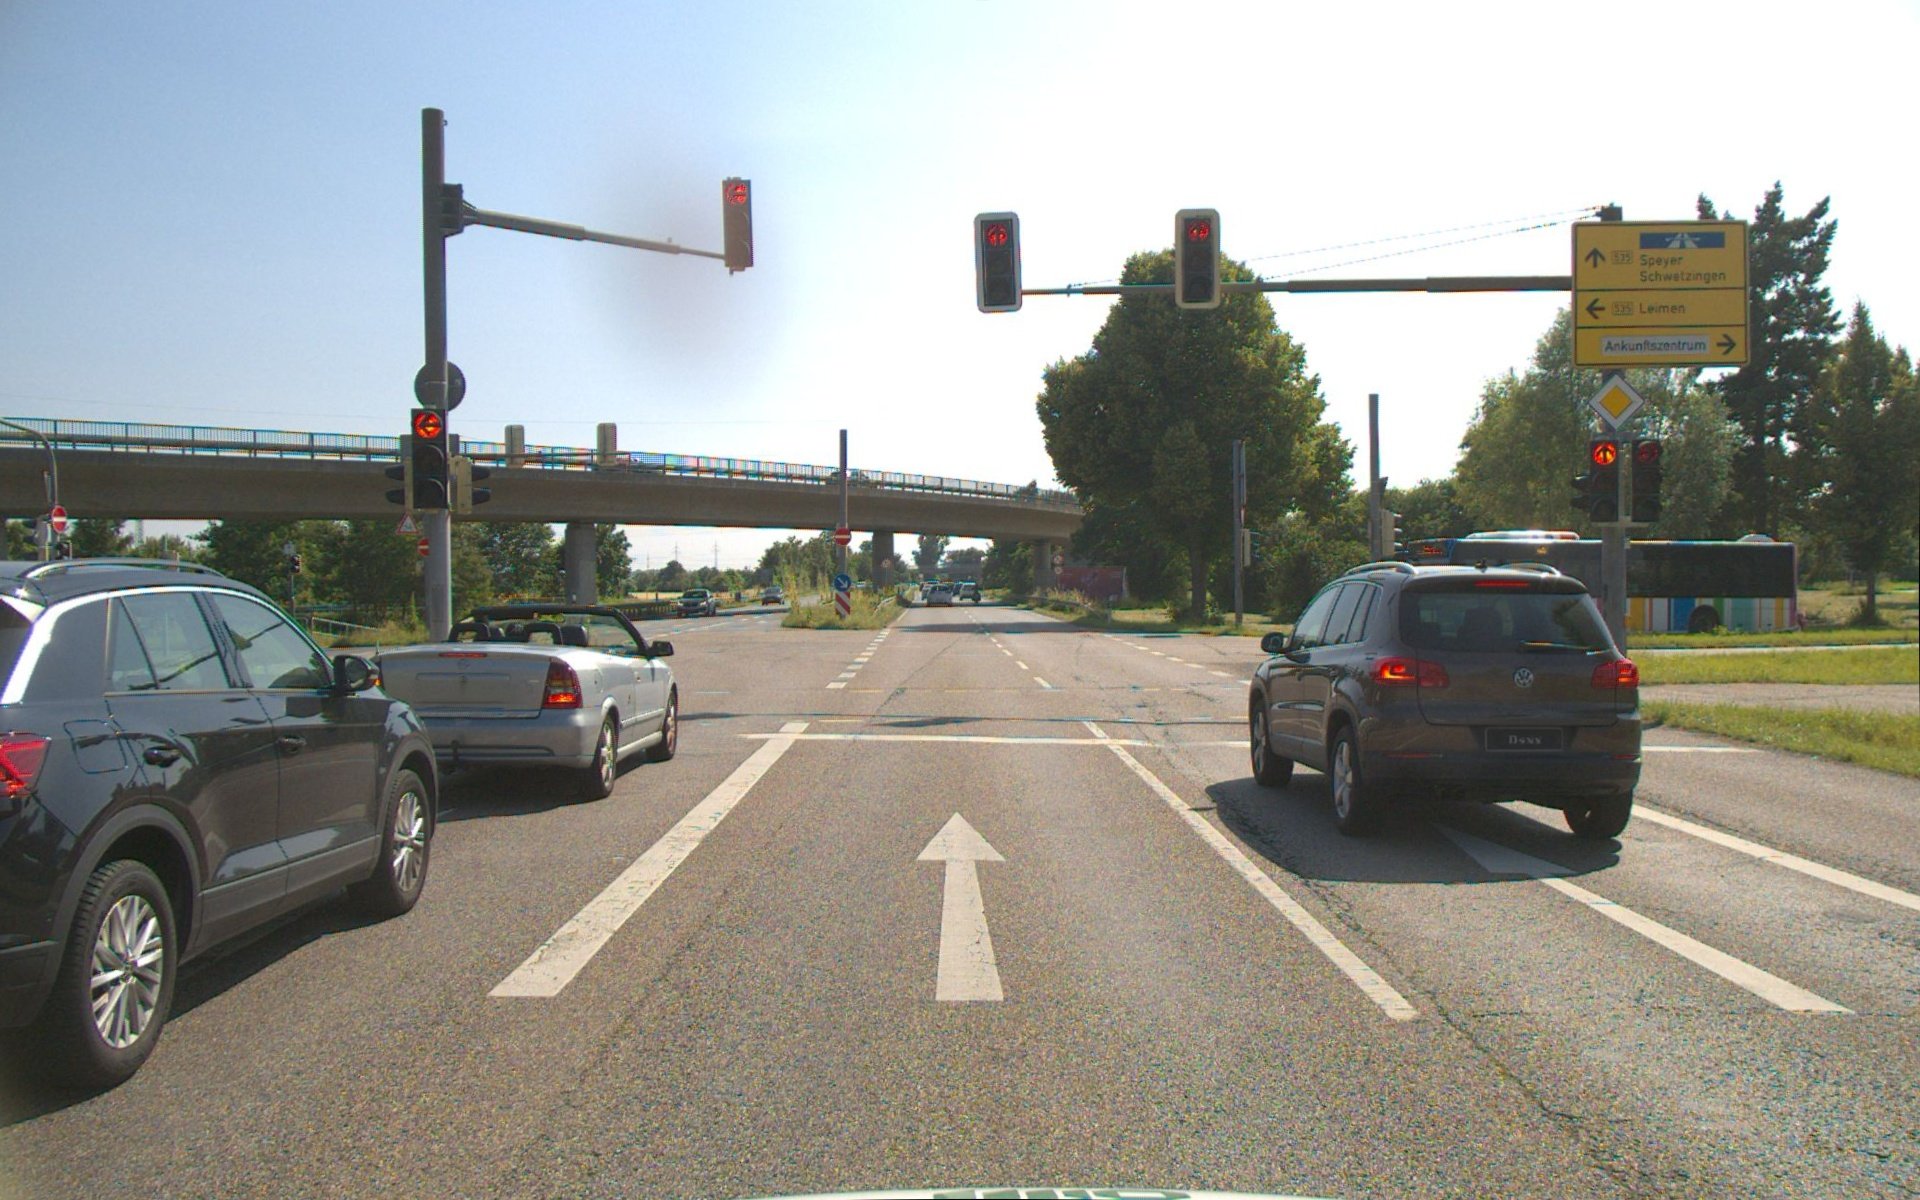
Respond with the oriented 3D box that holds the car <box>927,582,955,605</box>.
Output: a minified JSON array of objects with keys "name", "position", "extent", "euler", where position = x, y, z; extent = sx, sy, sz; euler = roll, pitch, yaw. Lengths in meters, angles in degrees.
[{"name":"car","position":[-1.243,-0.469,111.043],"extent":[1.813,1.486,4.000],"euler":[1,1,0]}]

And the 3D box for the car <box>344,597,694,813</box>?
[{"name":"car","position":[-3.206,0.682,12.837],"extent":[1.639,1.358,4.098],"euler":[0,1,0]}]

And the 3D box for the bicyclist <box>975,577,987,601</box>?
[{"name":"bicyclist","position":[1.699,-0.858,133.222],"extent":[0.986,1.919,1.327],"euler":[0,0,0]}]

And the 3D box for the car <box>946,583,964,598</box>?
[{"name":"car","position":[-0.625,-1.141,193.003],"extent":[1.953,1.660,3.999],"euler":[2,0,-1]}]

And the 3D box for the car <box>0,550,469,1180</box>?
[{"name":"car","position":[-3.258,0.634,6.094],"extent":[1.693,1.574,4.098],"euler":[0,1,0]}]

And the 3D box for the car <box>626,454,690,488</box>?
[{"name":"car","position":[-15.211,-6.485,83.404],"extent":[1.296,1.512,3.188],"euler":[-1,1,34]}]

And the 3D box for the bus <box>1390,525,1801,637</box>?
[{"name":"bus","position":[18.445,-0.585,47.913],"extent":[11.744,2.927,2.929],"euler":[-1,0,-16]}]

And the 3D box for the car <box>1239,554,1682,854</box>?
[{"name":"car","position":[3.217,0.583,11.532],"extent":[1.720,1.684,4.145],"euler":[1,0,-1]}]

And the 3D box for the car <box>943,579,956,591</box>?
[{"name":"car","position":[-1.555,-2.218,251.697],"extent":[1.953,1.684,3.999],"euler":[2,0,0]}]

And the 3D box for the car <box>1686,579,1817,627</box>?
[{"name":"car","position":[25.733,0.074,53.777],"extent":[3.932,1.422,1.670],"euler":[-1,1,-23]}]

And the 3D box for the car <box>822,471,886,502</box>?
[{"name":"car","position":[-6.311,-6.798,99.049],"extent":[1.956,1.512,3.993],"euler":[2,0,29]}]

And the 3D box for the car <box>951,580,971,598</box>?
[{"name":"car","position":[0.113,-1.075,157.645],"extent":[1.835,1.668,4.000],"euler":[1,1,0]}]

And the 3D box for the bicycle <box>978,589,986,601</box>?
[{"name":"bicycle","position":[1.739,-0.410,132.986],"extent":[0.588,1.000,2.361],"euler":[-1,1,0]}]

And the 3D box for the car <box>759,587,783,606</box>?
[{"name":"car","position":[-15.805,-0.292,138.518],"extent":[1.582,1.467,3.776],"euler":[-3,0,-1]}]

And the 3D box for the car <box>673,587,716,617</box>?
[{"name":"car","position":[-14.991,0.079,93.529],"extent":[1.845,1.541,4.147],"euler":[-3,0,-2]}]
